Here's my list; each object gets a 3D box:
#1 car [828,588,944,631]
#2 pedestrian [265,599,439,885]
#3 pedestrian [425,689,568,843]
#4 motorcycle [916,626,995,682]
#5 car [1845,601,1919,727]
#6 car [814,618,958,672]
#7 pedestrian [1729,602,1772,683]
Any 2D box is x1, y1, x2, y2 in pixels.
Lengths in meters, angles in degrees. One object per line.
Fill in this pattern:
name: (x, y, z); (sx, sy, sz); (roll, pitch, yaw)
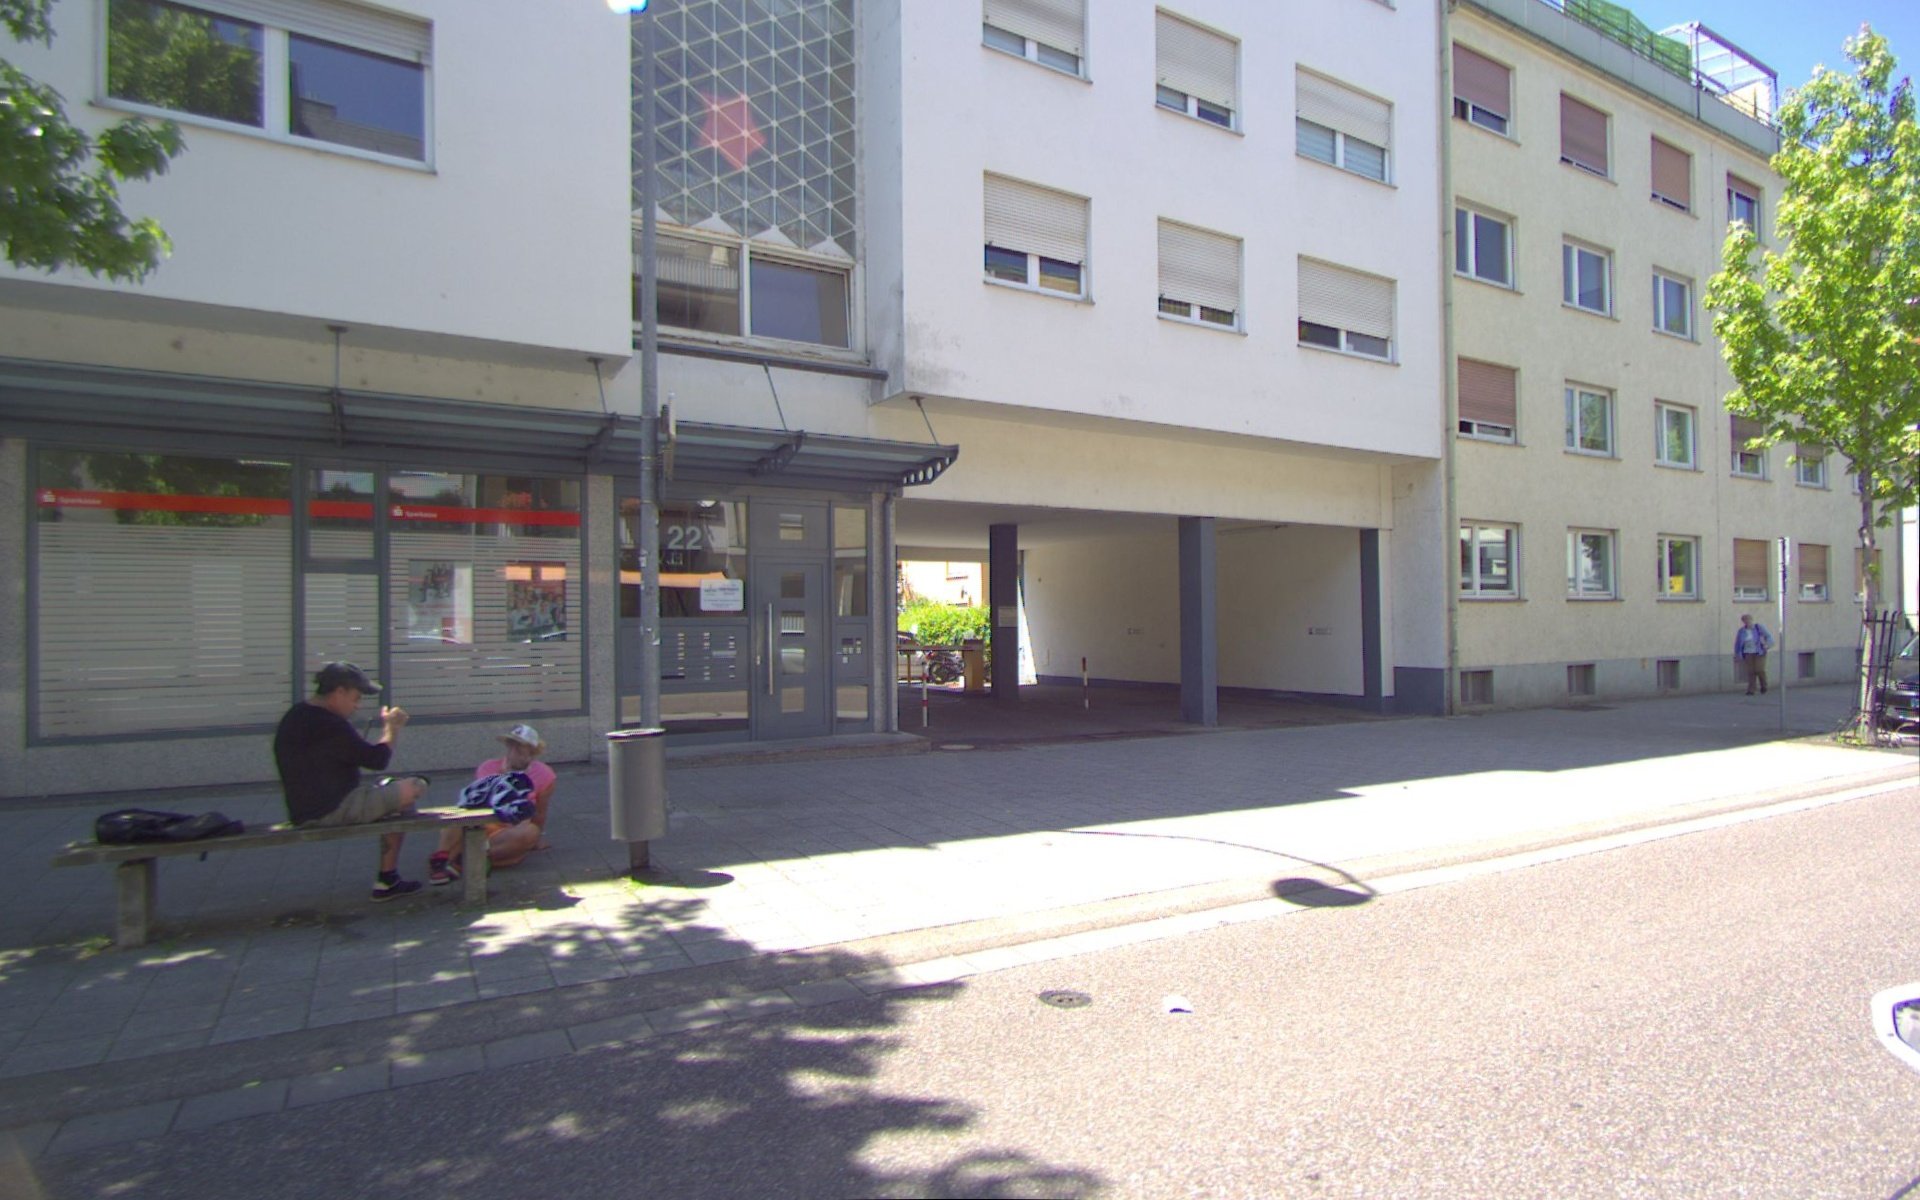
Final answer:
car: (-2.700, 0.369, 36.735); (3.867, 1.518, 1.820); (1, -1, -30)
pedestrian: (-3.157, 0.703, 5.277); (0.657, 1.390, 0.566); (1, -1, -21)
pedestrian: (-2.928, 1.042, 6.417); (0.722, 0.869, 0.663); (5, -3, -21)
motorcycle: (-0.107, 1.517, 28.495); (2.204, 1.505, 0.678); (0, -1, -31)
car: (15.608, 0.964, 15.482); (4.343, 1.764, 1.719); (1, 3, -32)
car: (-2.173, 1.296, 29.756); (3.867, 1.518, 1.820); (1, -1, -30)
pedestrian: (16.983, 0.909, 21.590); (0.648, 1.703, 0.628); (-2, 0, 42)
